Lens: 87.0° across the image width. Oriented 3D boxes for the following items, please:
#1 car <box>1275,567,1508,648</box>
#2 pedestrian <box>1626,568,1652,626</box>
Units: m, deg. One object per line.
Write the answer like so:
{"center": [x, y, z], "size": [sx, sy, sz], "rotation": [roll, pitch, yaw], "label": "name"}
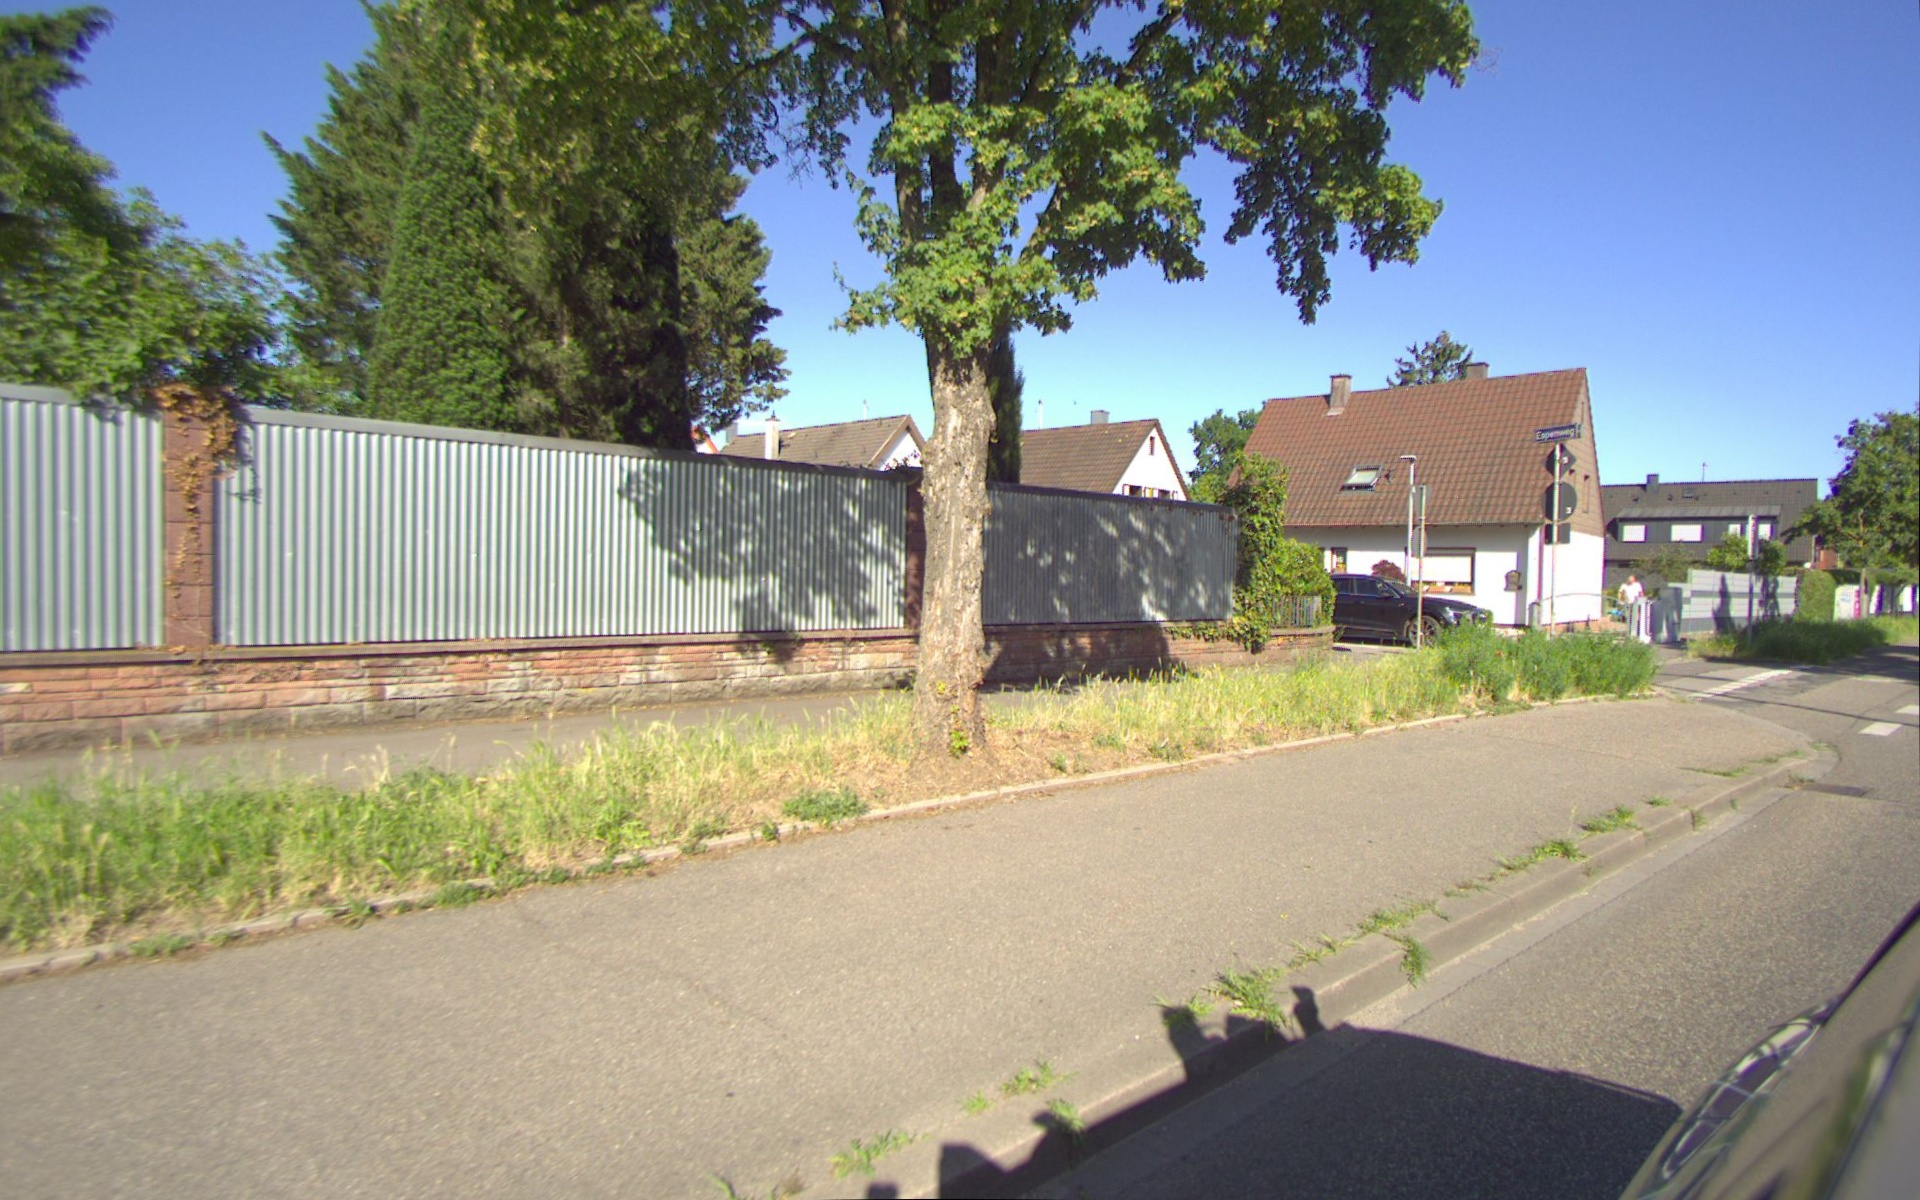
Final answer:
{"center": [10.270, 0.103, 24.327], "size": [4.743, 1.677, 2.039], "rotation": [3, 2, 44], "label": "car"}
{"center": [20.642, -0.092, 30.772], "size": [0.626, 1.729, 0.606], "rotation": [1, 1, 36], "label": "pedestrian"}
